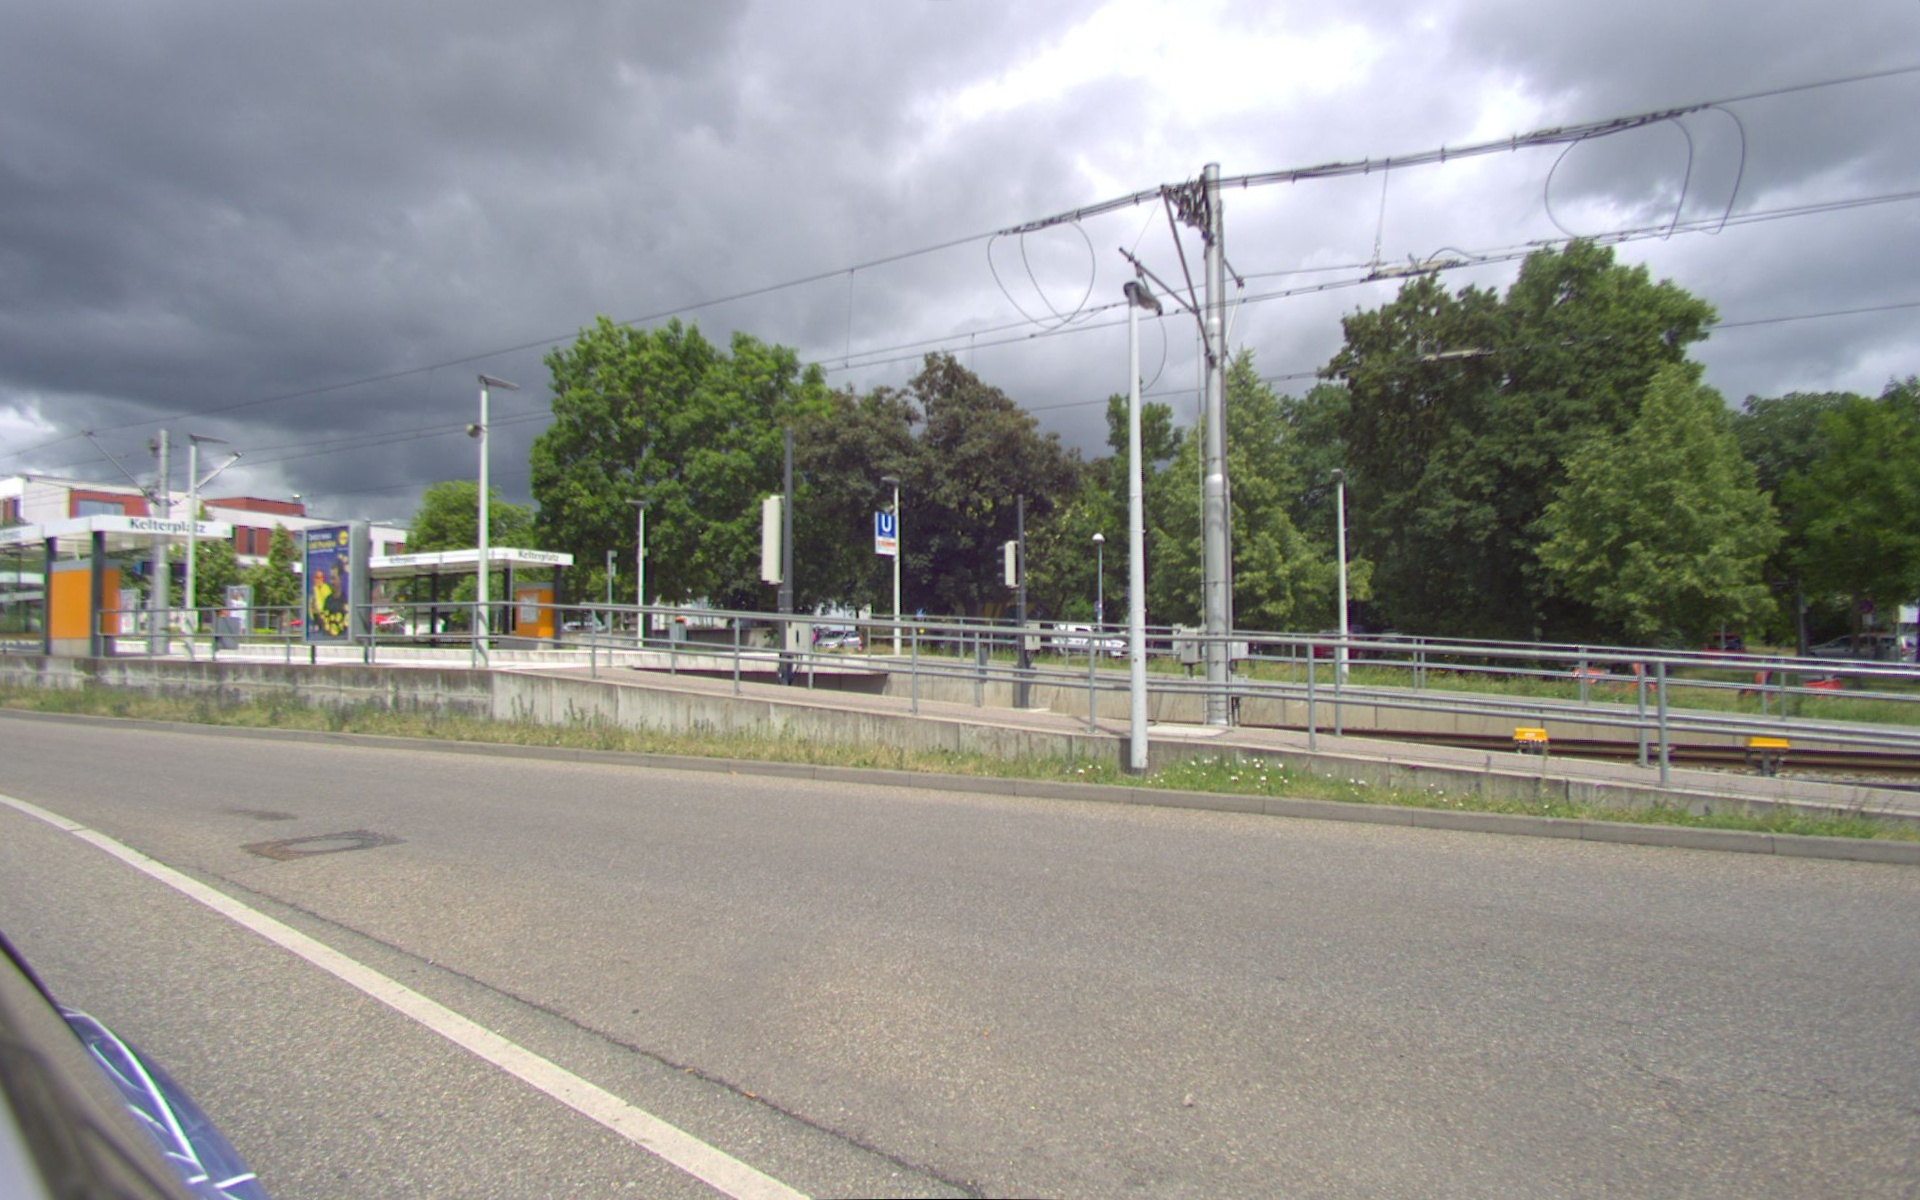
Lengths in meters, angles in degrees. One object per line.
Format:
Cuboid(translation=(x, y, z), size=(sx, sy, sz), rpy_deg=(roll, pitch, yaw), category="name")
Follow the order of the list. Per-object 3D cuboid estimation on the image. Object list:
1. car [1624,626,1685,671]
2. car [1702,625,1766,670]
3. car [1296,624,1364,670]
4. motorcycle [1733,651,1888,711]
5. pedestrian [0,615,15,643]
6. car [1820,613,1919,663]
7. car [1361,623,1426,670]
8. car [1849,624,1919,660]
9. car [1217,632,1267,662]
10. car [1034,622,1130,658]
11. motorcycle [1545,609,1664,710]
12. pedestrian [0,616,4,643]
Cuboid(translation=(30.315, 2.103, 44.148), size=(1.996, 1.849, 3.951), rpy_deg=(-3, -3, 36), category="car")
Cuboid(translation=(32.970, 2.009, 43.181), size=(1.996, 1.849, 3.951), rpy_deg=(-3, -3, 36), category="car")
Cuboid(translation=(14.650, 1.843, 39.949), size=(2.043, 1.719, 3.613), rpy_deg=(-2, -3, 28), category="car")
Cuboid(translation=(16.400, 1.537, 19.600), size=(2.211, 1.089, 0.723), rpy_deg=(-2, -3, 36), category="motorcycle")
Cuboid(translation=(-45.813, 1.394, 48.289), size=(1.108, 1.302, 0.751), rpy_deg=(-1, -3, 30), category="pedestrian")
Cuboid(translation=(39.717, 1.635, 43.237), size=(1.965, 2.029, 4.012), rpy_deg=(0, -3, -27), category="car")
Cuboid(translation=(16.751, 1.773, 39.030), size=(1.965, 1.697, 3.962), rpy_deg=(-2, -3, 28), category="car")
Cuboid(translation=(42.420, 1.875, 45.377), size=(1.467, 1.578, 3.490), rpy_deg=(0, -3, -28), category="car")
Cuboid(translation=(14.972, 2.464, 53.603), size=(1.957, 1.503, 3.801), rpy_deg=(-2, -3, 24), category="car")
Cuboid(translation=(6.076, 1.996, 50.455), size=(4.381, 1.691, 1.932), rpy_deg=(-2, -3, 25), category="car")
Cuboid(translation=(13.613, 1.241, 21.404), size=(1.982, 2.029, 0.824), rpy_deg=(-2, -3, 42), category="motorcycle")
Cuboid(translation=(-46.873, 1.440, 48.865), size=(1.108, 1.302, 0.751), rpy_deg=(-1, -3, 30), category="pedestrian")
